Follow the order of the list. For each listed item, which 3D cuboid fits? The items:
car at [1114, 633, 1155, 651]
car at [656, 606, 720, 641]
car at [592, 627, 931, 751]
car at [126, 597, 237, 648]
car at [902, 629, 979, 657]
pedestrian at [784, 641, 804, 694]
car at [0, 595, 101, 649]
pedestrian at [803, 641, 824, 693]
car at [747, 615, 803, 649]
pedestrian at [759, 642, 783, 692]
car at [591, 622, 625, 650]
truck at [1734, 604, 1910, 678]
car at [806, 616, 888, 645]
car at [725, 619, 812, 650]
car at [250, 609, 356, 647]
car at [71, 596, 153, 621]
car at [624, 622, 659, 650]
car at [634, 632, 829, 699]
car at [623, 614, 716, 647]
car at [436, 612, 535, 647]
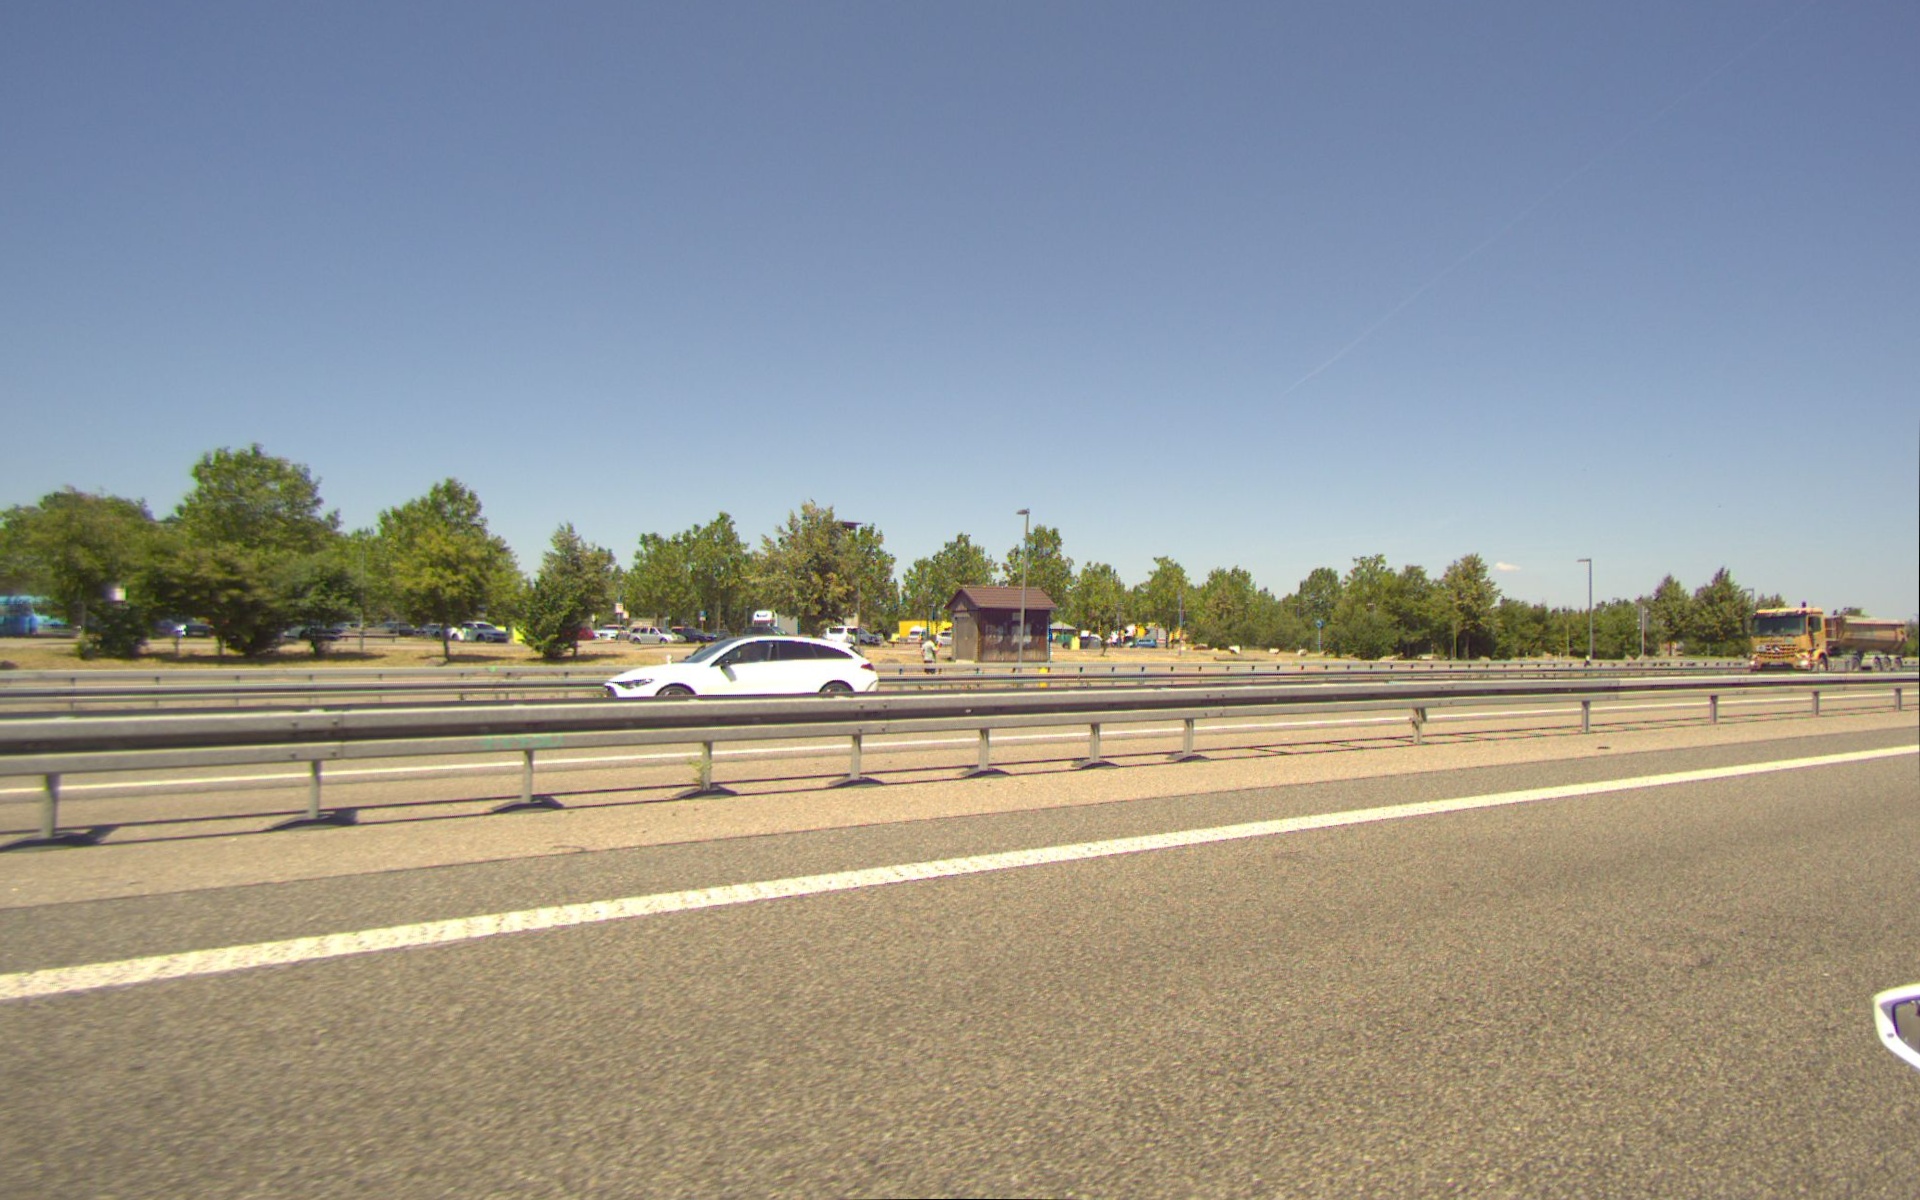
[{"bbox_3d":[18.324,4.393,105.623,3.933,1.678,1.806,1,0,23],"label":"car"},{"bbox_3d":[-29.845,2.618,110.243,6.252,3.751,2.730,1,0,-31],"label":"car"},{"bbox_3d":[-3.354,1.430,17.412,5.410,1.867,2.042,2,-2,-31],"label":"car"},{"bbox_3d":[-45.572,1.274,58.818,6.086,2.786,2.477,1,0,23],"label":"car"},{"bbox_3d":[-1.656,3.637,85.017,6.086,2.152,2.477,1,0,23],"label":"car"},{"bbox_3d":[-4.940,2.000,29.886,0.493,1.523,0.497,1,0,-21],"label":"pedestrian"},{"bbox_3d":[-50.552,1.160,55.346,6.086,2.786,2.477,1,0,23],"label":"car"},{"bbox_3d":[-4.401,2.011,30.150,0.493,1.523,0.497,1,0,-21],"label":"pedestrian"},{"bbox_3d":[-18.328,3.141,99.822,2.698,3.220,6.325,1,0,18],"label":"car"},{"bbox_3d":[-5.608,1.988,29.791,0.491,1.441,0.499,1,0,27],"label":"pedestrian"},{"bbox_3d":[-32.300,3.254,92.076,2.712,2.387,6.293,1,0,-21],"label":"car"},{"bbox_3d":[42.343,2.044,49.167,12.242,3.301,2.705,2,-2,-30],"label":"truck"},{"bbox_3d":[-9.008,2.392,79.924,6.086,2.152,2.477,1,0,23],"label":"car"},{"bbox_3d":[-14.448,2.567,75.604,6.086,2.152,2.477,1,0,23],"label":"car"},{"bbox_3d":[-40.269,1.705,61.555,6.086,2.152,2.477,1,0,23],"label":"car"},{"bbox_3d":[-71.326,0.699,84.512,5.205,2.017,2.447,1,0,-42],"label":"car"},{"bbox_3d":[-29.474,3.310,92.904,2.712,2.387,6.293,1,0,-21],"label":"car"},{"bbox_3d":[-6.883,1.931,30.468,5.410,1.867,2.042,2,-2,-31],"label":"car"},{"bbox_3d":[-20.637,2.124,71.339,6.086,2.152,2.477,1,0,23],"label":"car"},{"bbox_3d":[-31.195,1.896,65.998,6.086,2.152,2.477,1,0,23],"label":"car"}]
